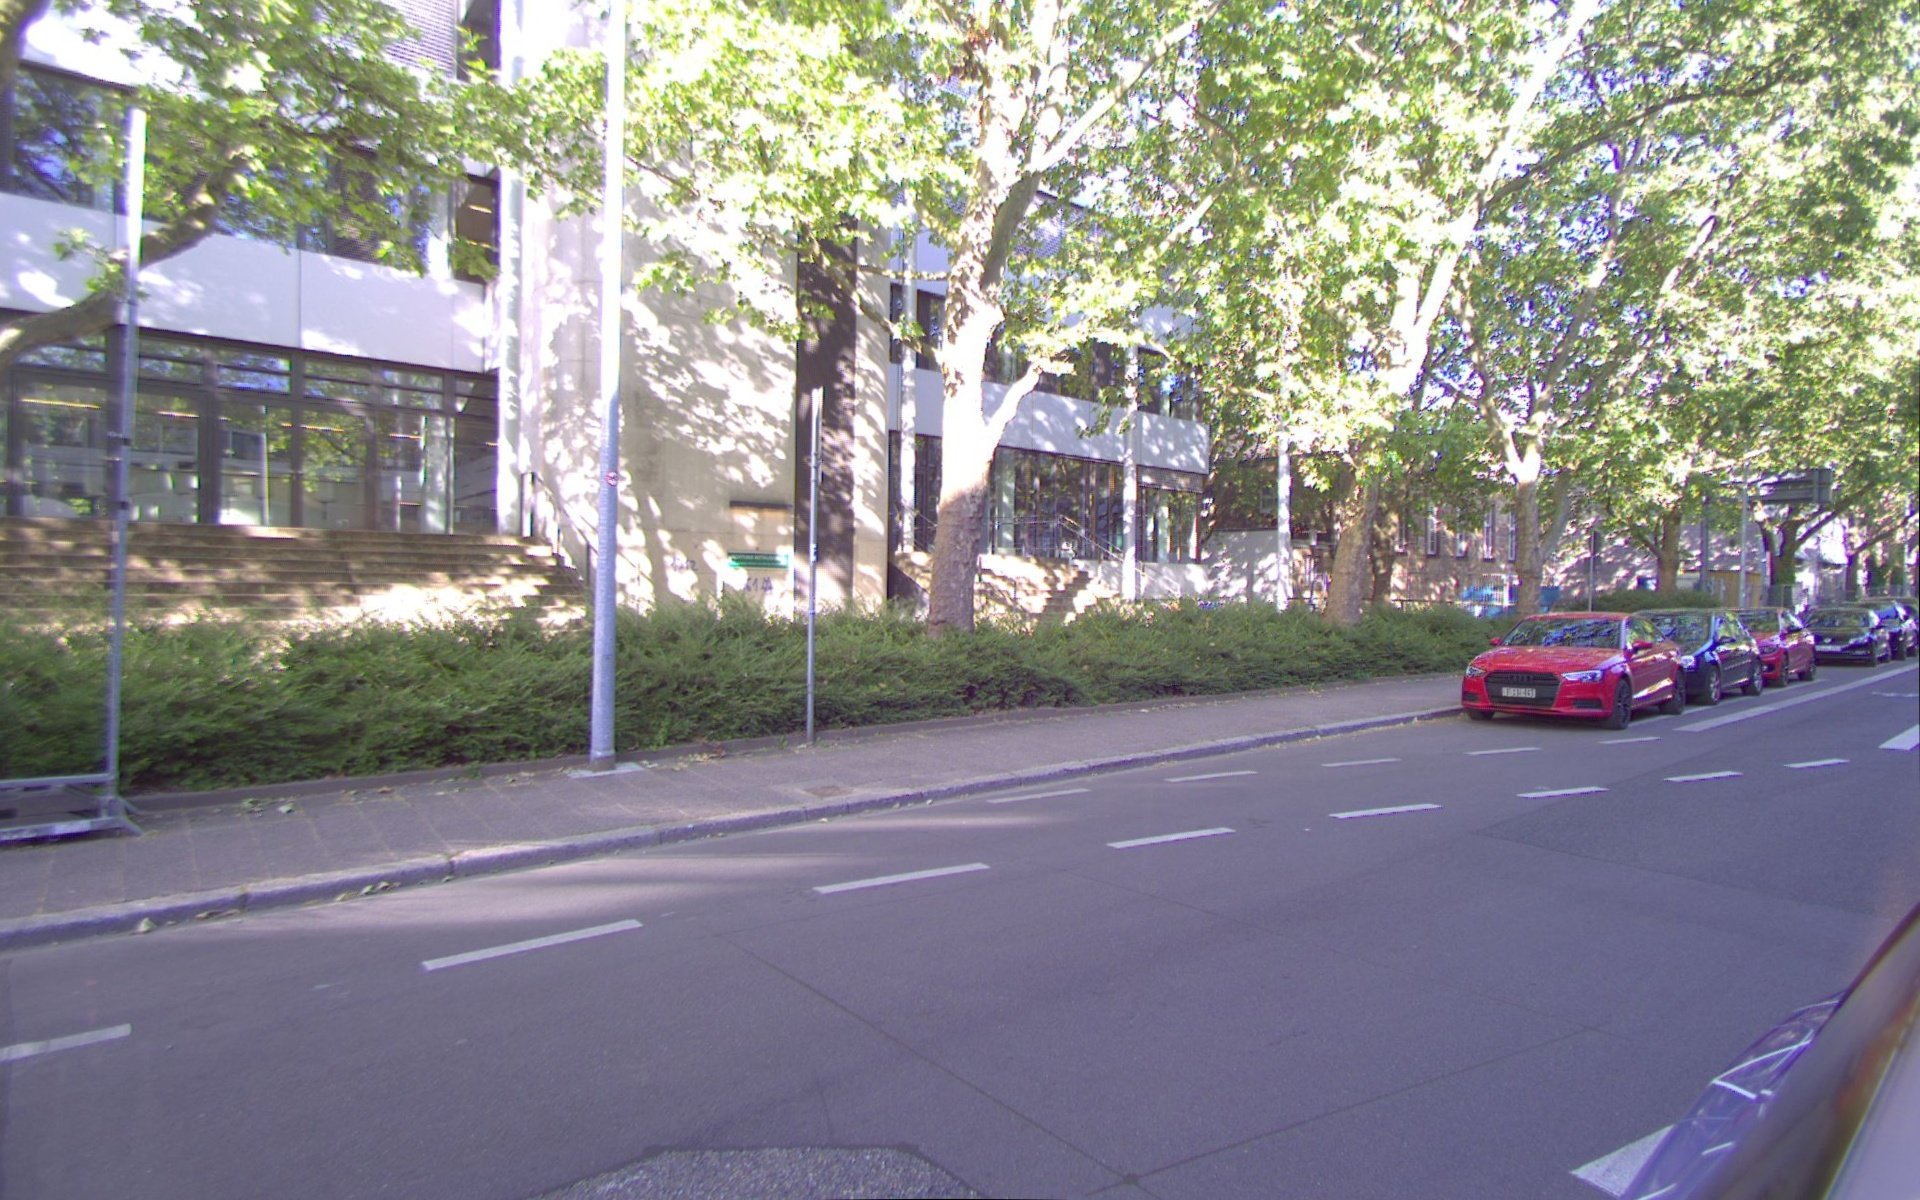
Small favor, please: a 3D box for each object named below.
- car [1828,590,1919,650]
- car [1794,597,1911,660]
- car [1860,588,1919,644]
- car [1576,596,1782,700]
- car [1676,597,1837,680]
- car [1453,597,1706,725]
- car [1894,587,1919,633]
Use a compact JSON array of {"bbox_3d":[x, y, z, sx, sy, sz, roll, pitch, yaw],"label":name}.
[{"bbox_3d":[26.641,0.520,29.197,4.158,1.601,1.847,0,1,-41],"label":"car"},{"bbox_3d":[22.977,0.676,25.999,3.930,1.456,1.744,0,1,-41],"label":"car"},{"bbox_3d":[31.075,0.477,33.058,4.188,1.747,1.997,-1,0,-41],"label":"car"},{"bbox_3d":[11.789,0.683,16.511,3.929,1.475,1.812,0,1,-40],"label":"car"},{"bbox_3d":[15.767,0.678,19.966,3.930,1.456,1.789,0,1,-41],"label":"car"},{"bbox_3d":[8.362,0.697,13.520,4.101,1.443,1.773,0,-1,-42],"label":"car"},{"bbox_3d":[35.733,0.357,37.079,4.004,1.638,1.797,0,1,-41],"label":"car"}]
